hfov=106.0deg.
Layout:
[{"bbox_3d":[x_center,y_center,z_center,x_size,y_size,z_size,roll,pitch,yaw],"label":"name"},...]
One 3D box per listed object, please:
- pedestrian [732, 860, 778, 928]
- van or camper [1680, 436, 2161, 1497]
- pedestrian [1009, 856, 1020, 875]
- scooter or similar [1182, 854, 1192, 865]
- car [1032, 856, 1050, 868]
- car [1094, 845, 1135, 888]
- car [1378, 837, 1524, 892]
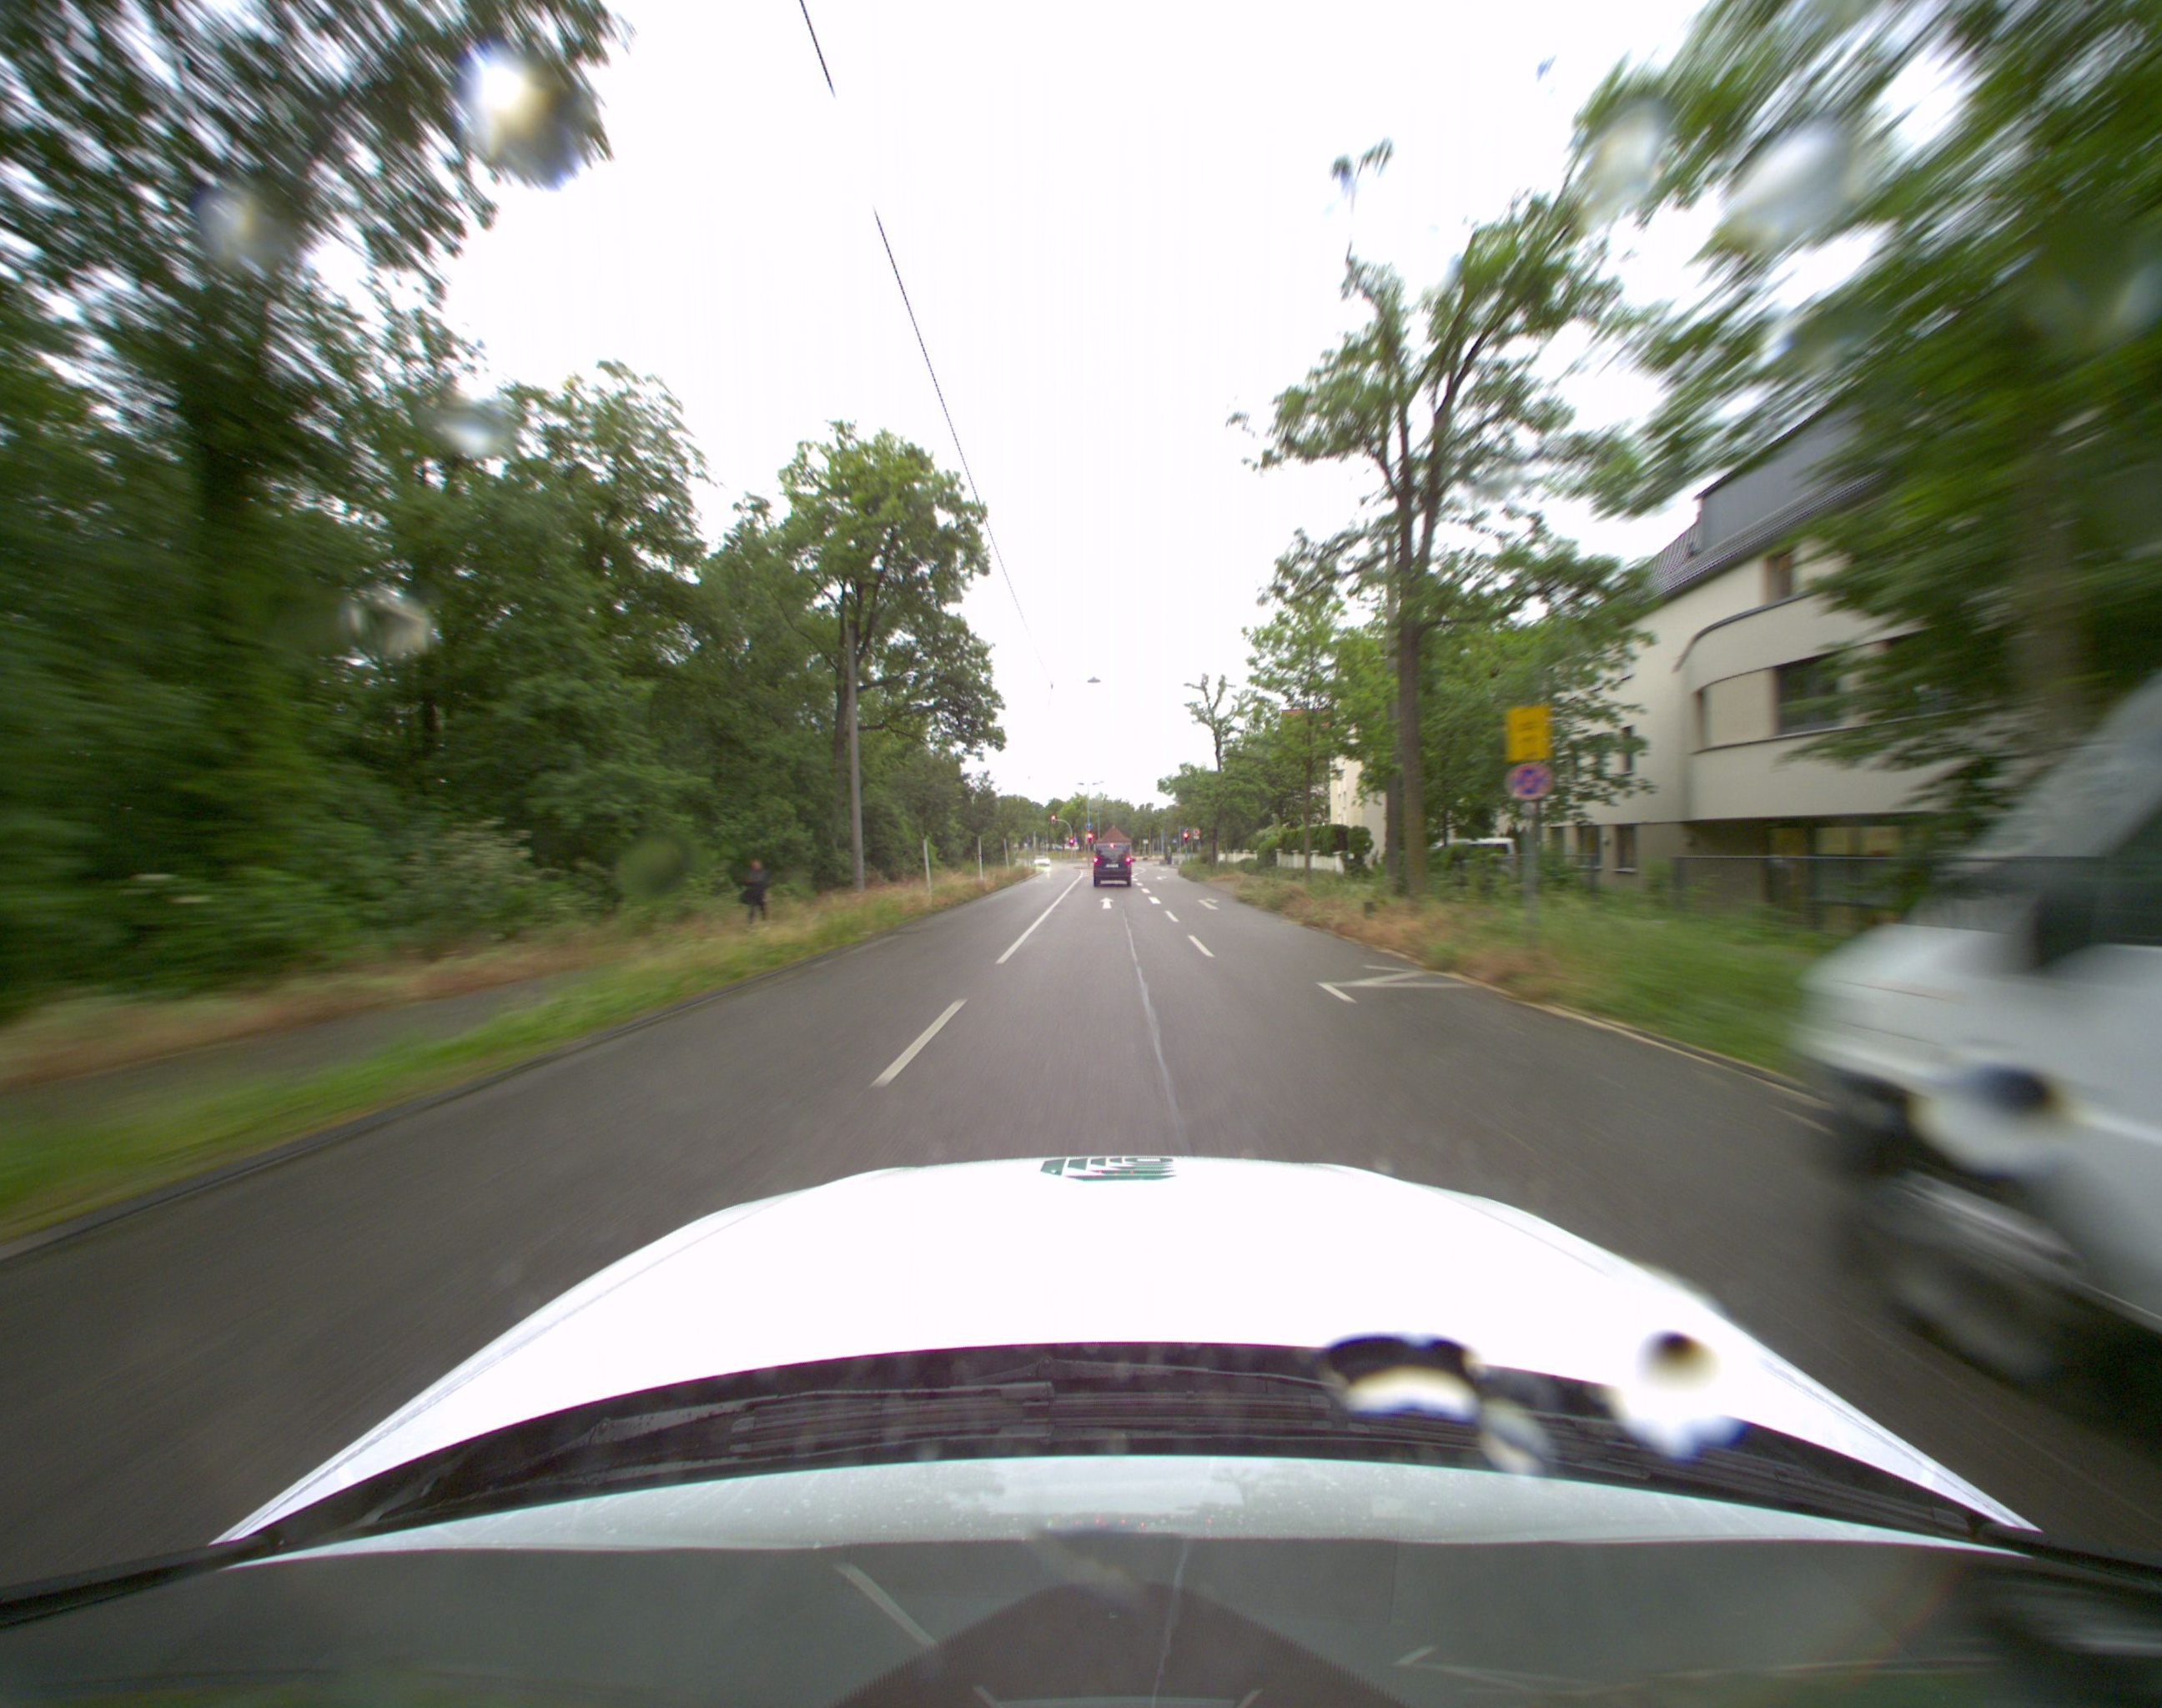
[{"bbox_3d":[-7.984,0.975,19.977,0.778,1.608,0.732,-2,0,0],"label":"pedestrian"},{"bbox_3d":[3.509,0.270,0.645,2.029,2.479,5.640,1,0,2],"label":"van or camper"},{"bbox_3d":[-6.992,1.233,85.888,1.085,2.014,0.999,0,-1,-2],"label":"pedestrian"},{"bbox_3d":[12.181,0.612,93.647,1.144,1.219,0.406,-1,-2,2],"label":"scooter or similar"},{"bbox_3d":[-5.016,0.951,101.671,1.992,1.311,4.349,-4,0,-7],"label":"car"},{"bbox_3d":[1.468,0.508,36.161,1.725,1.786,4.001,0,0,2],"label":"car"},{"bbox_3d":[12.592,0.343,27.964,4.275,1.817,1.880,0,0,12],"label":"car"}]
